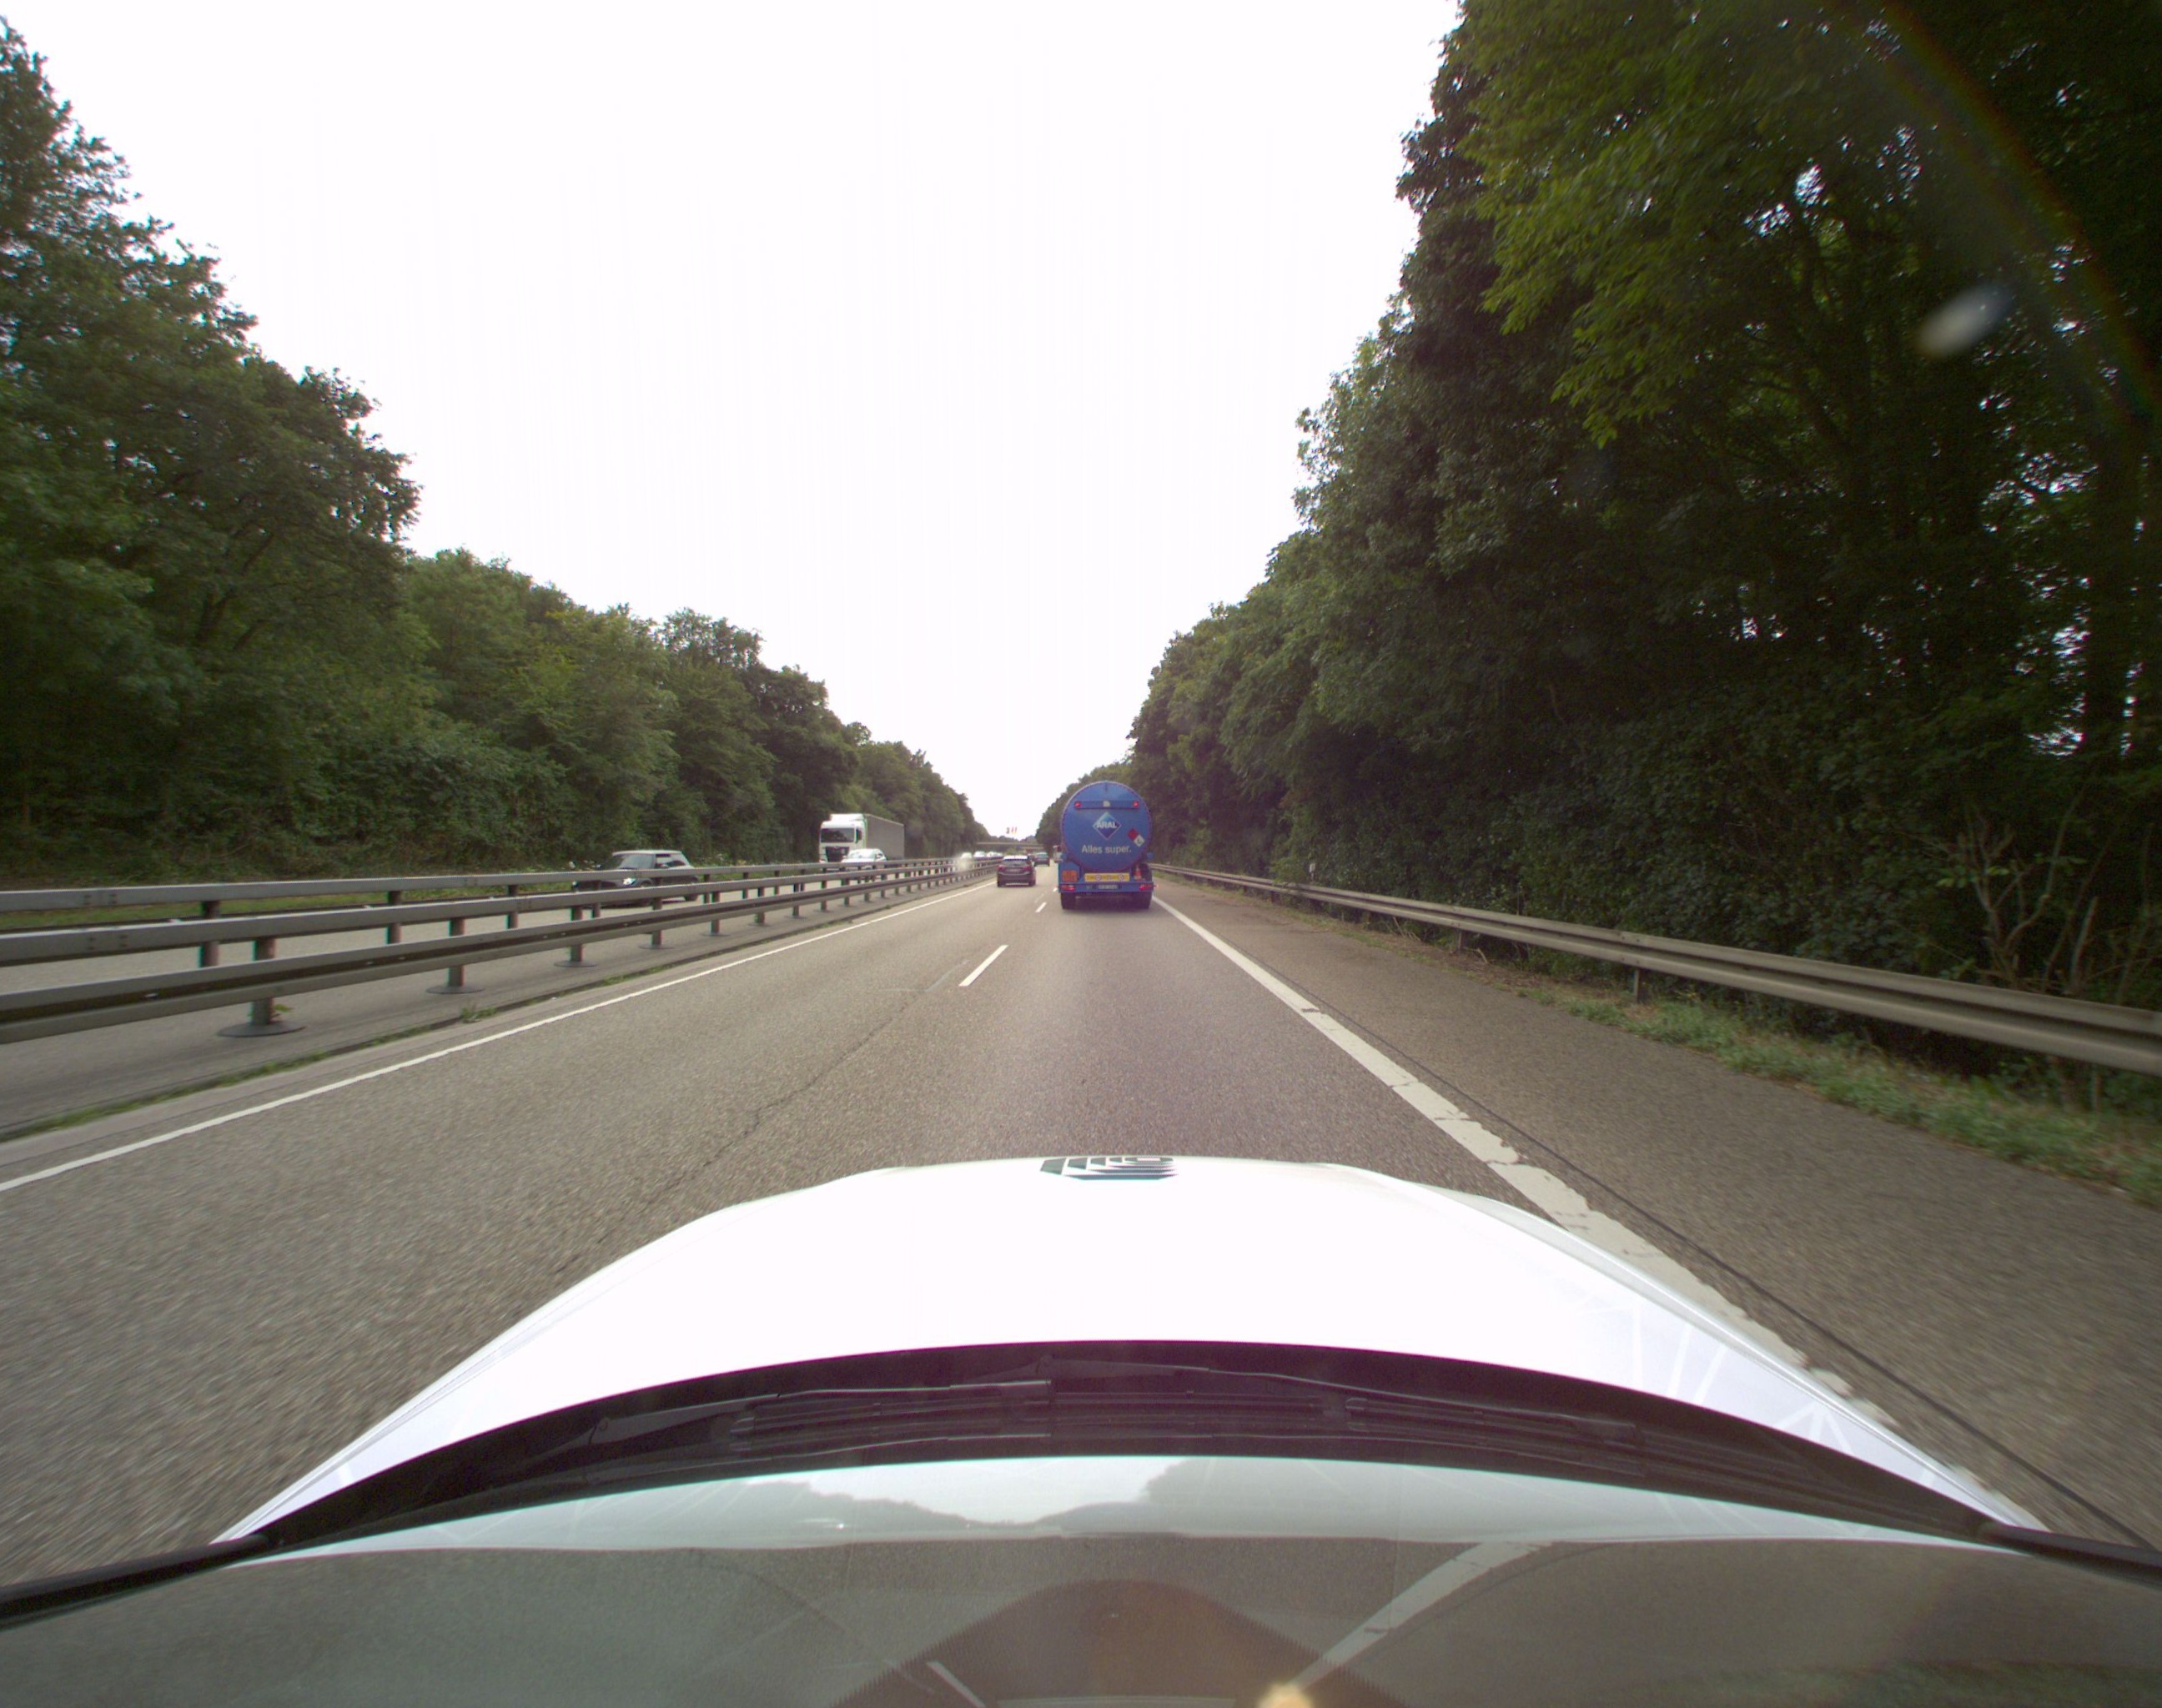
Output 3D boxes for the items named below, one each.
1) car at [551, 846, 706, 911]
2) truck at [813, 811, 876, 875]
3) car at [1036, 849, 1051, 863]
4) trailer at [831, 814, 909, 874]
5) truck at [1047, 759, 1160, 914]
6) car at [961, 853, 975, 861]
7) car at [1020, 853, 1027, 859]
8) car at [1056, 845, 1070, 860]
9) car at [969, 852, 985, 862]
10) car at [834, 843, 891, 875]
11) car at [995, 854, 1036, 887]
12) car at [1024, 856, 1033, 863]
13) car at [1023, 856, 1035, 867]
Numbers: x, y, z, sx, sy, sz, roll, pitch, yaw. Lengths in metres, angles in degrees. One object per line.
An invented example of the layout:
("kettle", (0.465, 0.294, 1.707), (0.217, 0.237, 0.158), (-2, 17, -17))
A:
("car", (-11.278, 0.567, 20.613), (1.703, 1.446, 3.777), (-1, 0, 1))
("truck", (-15.837, -0.684, 54.839), (2.684, 4.063, 5.320), (-1, 0, -1))
("car", (-4.565, 0.263, 98.924), (1.822, 1.609, 4.162), (-1, 0, -4))
("trailer", (-15.897, -0.682, 62.509), (2.655, 4.046, 12.868), (-1, 0, 0))
("truck", (0.717, -0.465, 24.358), (2.745, 3.846, 7.692), (-1, 0, 2))
("car", (-18.288, 0.494, 132.142), (1.736, 1.189, 4.290), (-1, 0, 0))
("car", (-17.805, 0.615, 253.817), (1.988, 1.552, 3.997), (-1, 0, -2))
("car", (-2.826, -0.214, 127.847), (1.986, 2.244, 4.001), (-1, 0, 1))
("car", (-14.355, 0.405, 112.780), (1.638, 1.389, 4.290), (-1, 0, 0))
("car", (-11.168, 0.255, 41.895), (1.786, 1.549, 4.129), (-1, 0, 1))
("car", (-3.127, 0.768, 39.703), (1.822, 1.458, 4.635), (-1, 0, -3))
("car", (-12.317, 1.194, 190.517), (1.949, 1.567, 3.998), (-1, 0, -1))
("car", (-9.710, 1.360, 151.999), (1.990, 2.013, 3.993), (-1, 0, -5))
